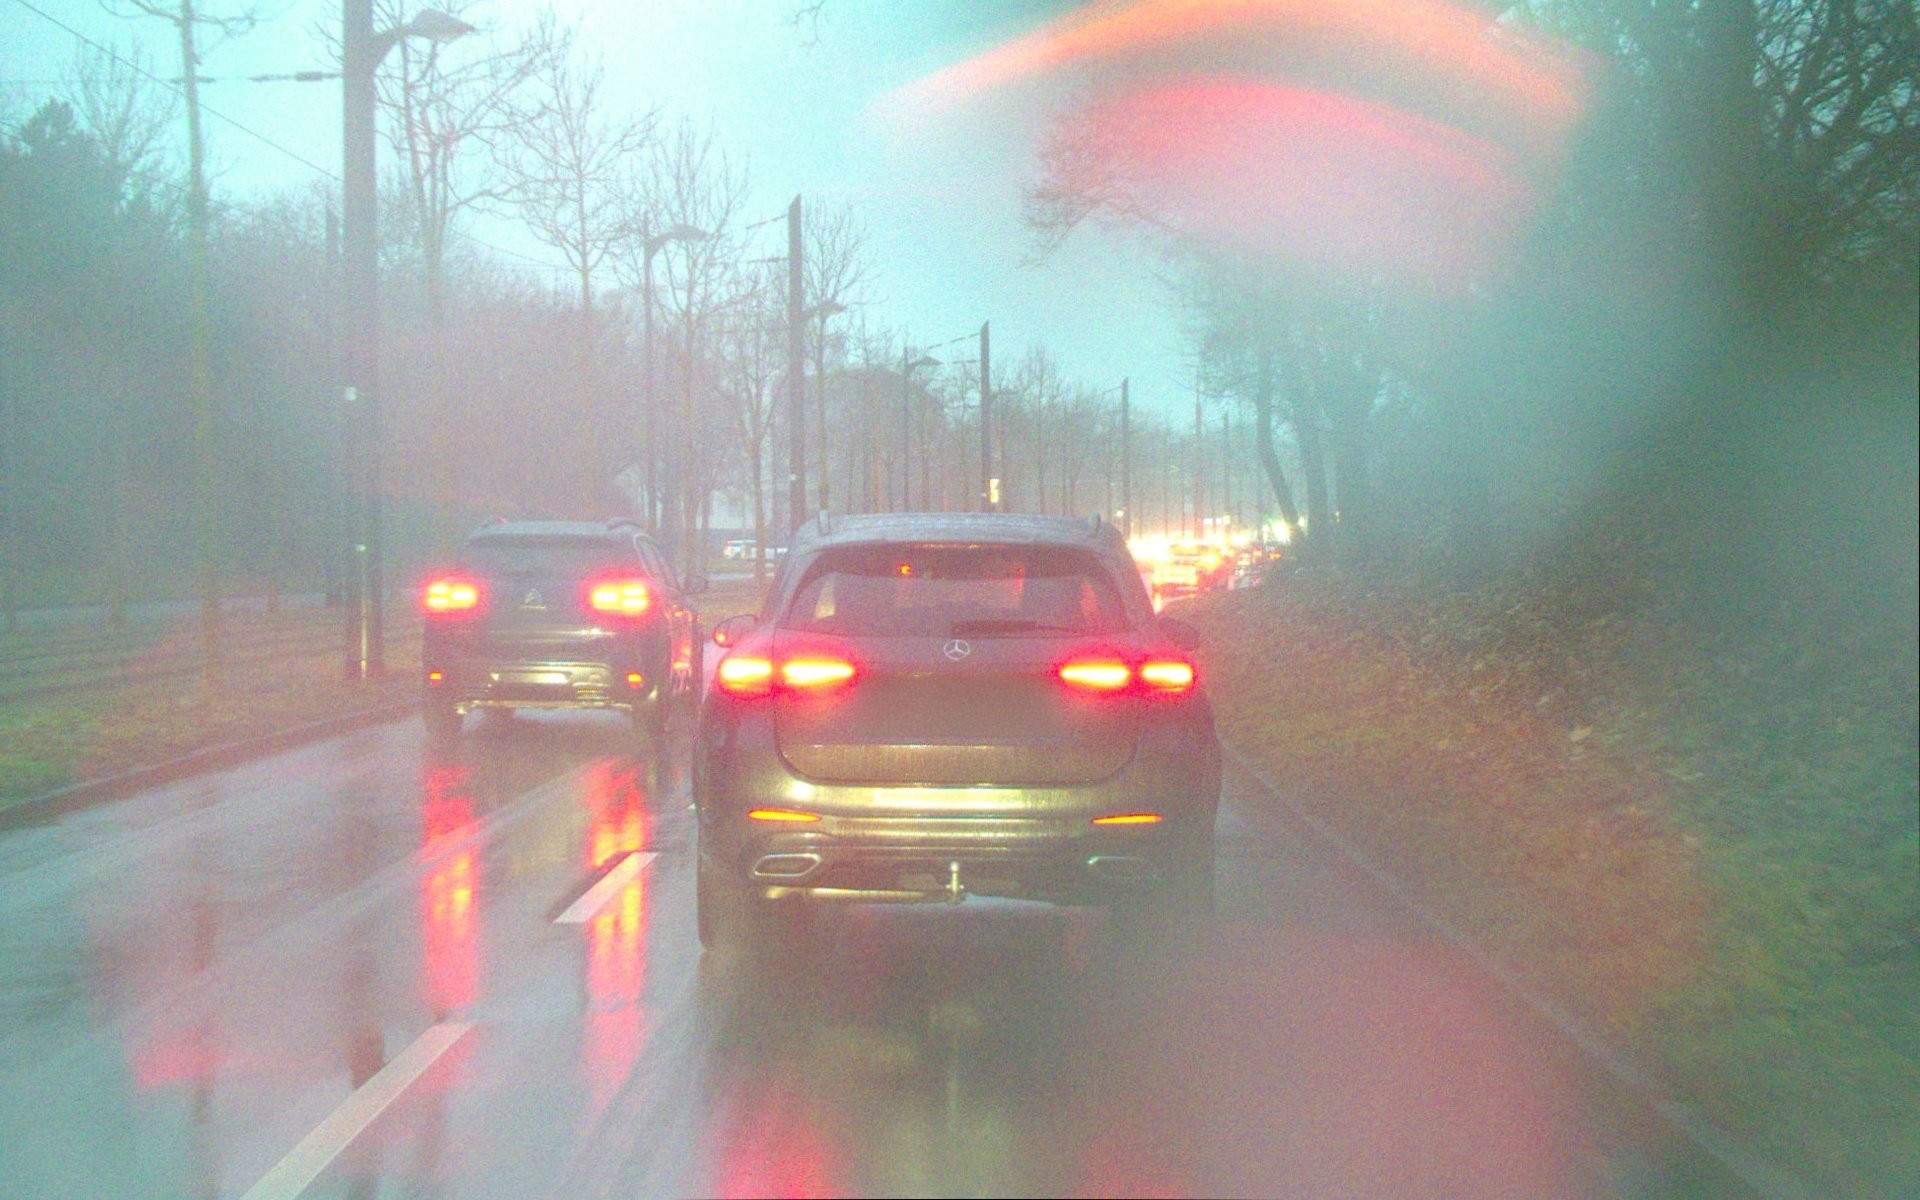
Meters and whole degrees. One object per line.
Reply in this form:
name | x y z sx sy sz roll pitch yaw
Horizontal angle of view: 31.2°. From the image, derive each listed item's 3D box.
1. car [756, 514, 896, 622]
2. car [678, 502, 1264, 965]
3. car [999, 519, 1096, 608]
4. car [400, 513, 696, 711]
car | -2.034 -0.525 53.289 1.880 1.588 4.000 0 2 2
car | -0.017 0.408 13.782 1.998 1.578 4.001 0 1 -2
car | 1.569 -0.676 62.336 1.708 1.552 3.996 0 1 1
car | -3.232 0.040 27.708 1.880 1.454 4.000 0 2 0
